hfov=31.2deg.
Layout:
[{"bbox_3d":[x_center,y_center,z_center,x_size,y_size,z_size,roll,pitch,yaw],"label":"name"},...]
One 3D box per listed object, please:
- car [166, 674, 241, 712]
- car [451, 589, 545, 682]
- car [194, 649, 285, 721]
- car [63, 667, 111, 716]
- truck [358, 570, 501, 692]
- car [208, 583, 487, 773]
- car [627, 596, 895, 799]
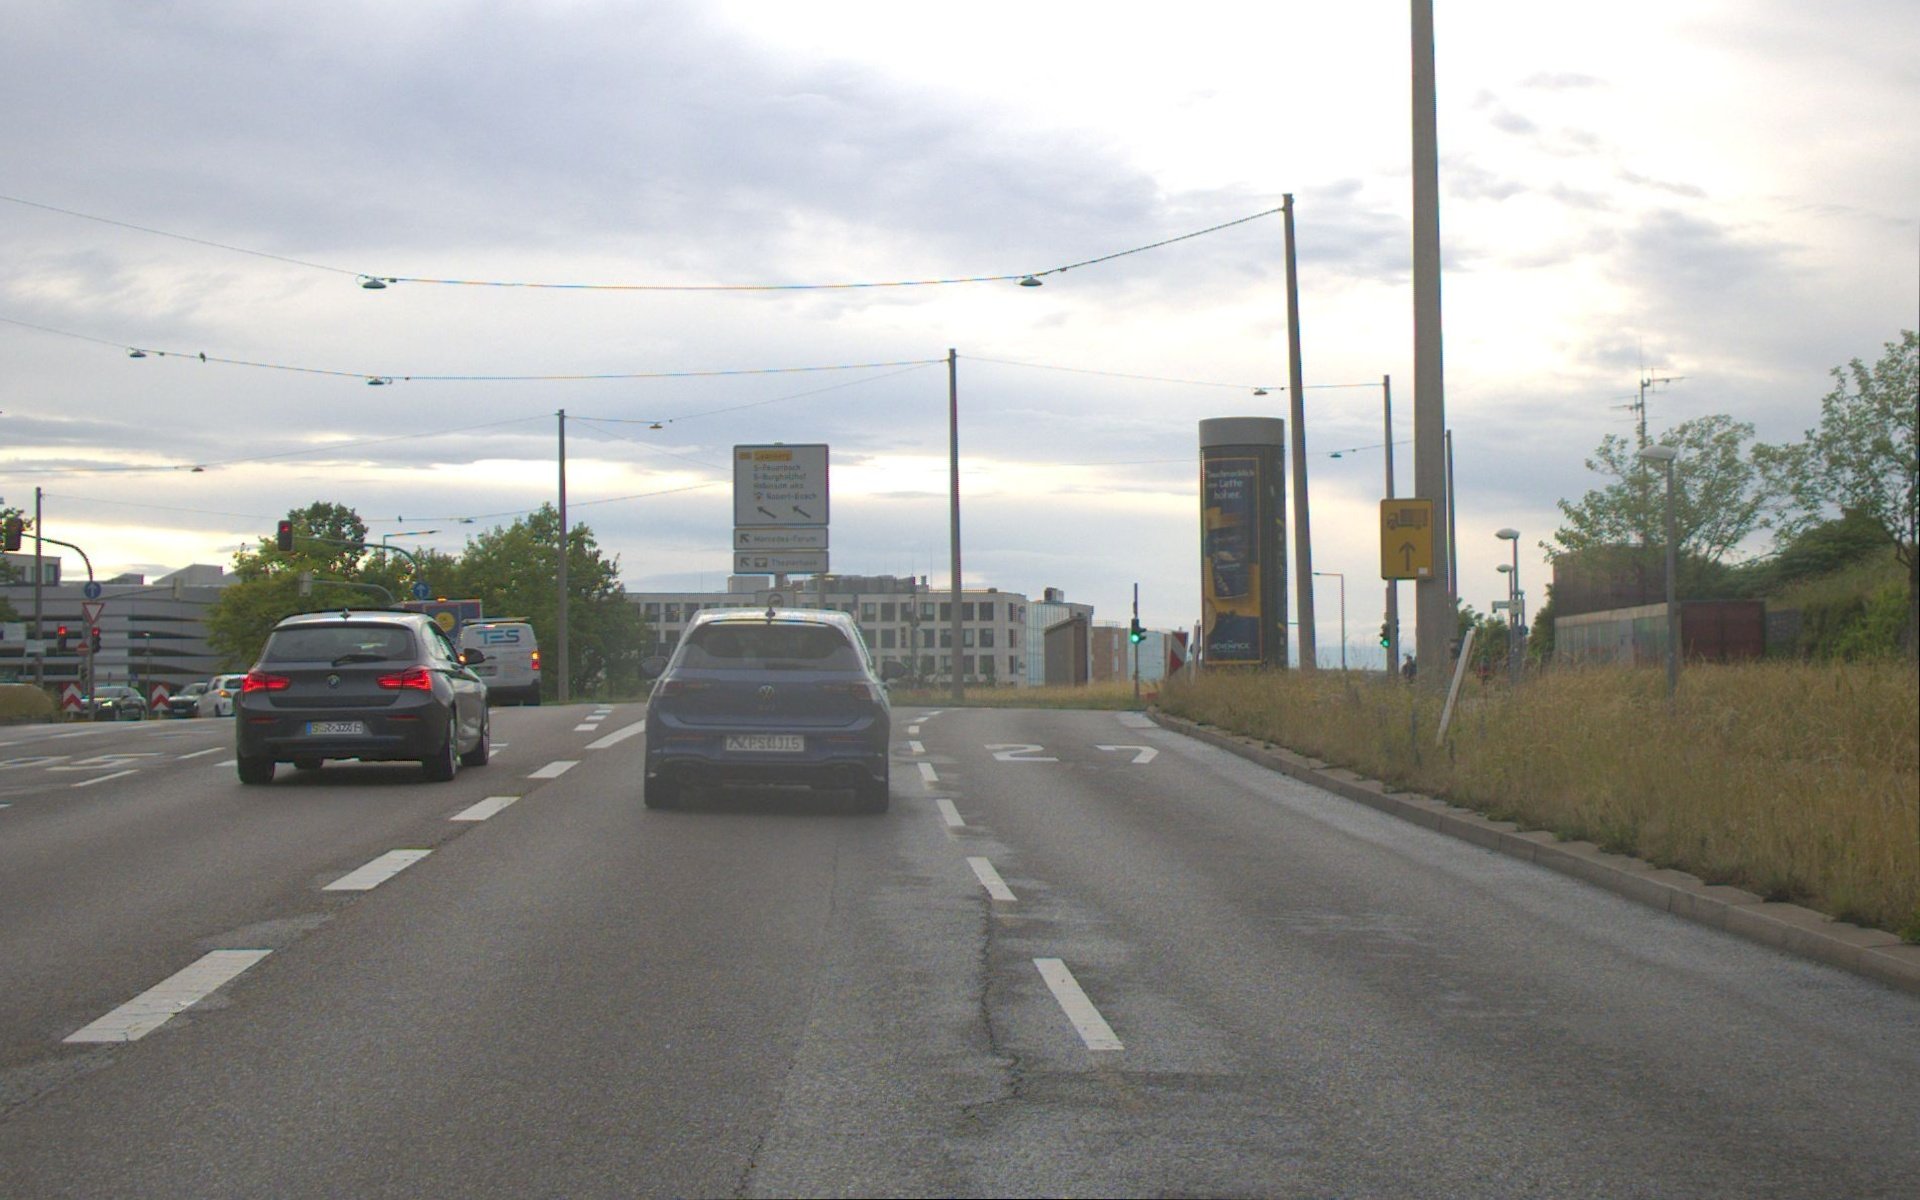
[{"bbox_3d":[-30.171,3.684,137.247,1.930,1.479,4.579,0,-1,1],"label":"car"},{"bbox_3d":[-10.504,0.829,77.864,1.904,1.966,5.093,-1,-2,-10],"label":"car"},{"bbox_3d":[-21.976,2.574,104.787,1.993,2.007,4.001,-2,1,-22],"label":"car"},{"bbox_3d":[-33.944,3.551,133.596,1.763,1.831,3.758,0,-1,-15],"label":"car"},{"bbox_3d":[-14.582,0.885,94.107,2.665,3.209,6.550,1,-1,-19],"label":"truck"},{"bbox_3d":[-5.205,0.617,29.682,1.869,1.456,3.977,0,1,-3],"label":"car"},{"bbox_3d":[-1.414,0.676,25.791,1.838,1.389,4.000,0,0,-1],"label":"car"}]
